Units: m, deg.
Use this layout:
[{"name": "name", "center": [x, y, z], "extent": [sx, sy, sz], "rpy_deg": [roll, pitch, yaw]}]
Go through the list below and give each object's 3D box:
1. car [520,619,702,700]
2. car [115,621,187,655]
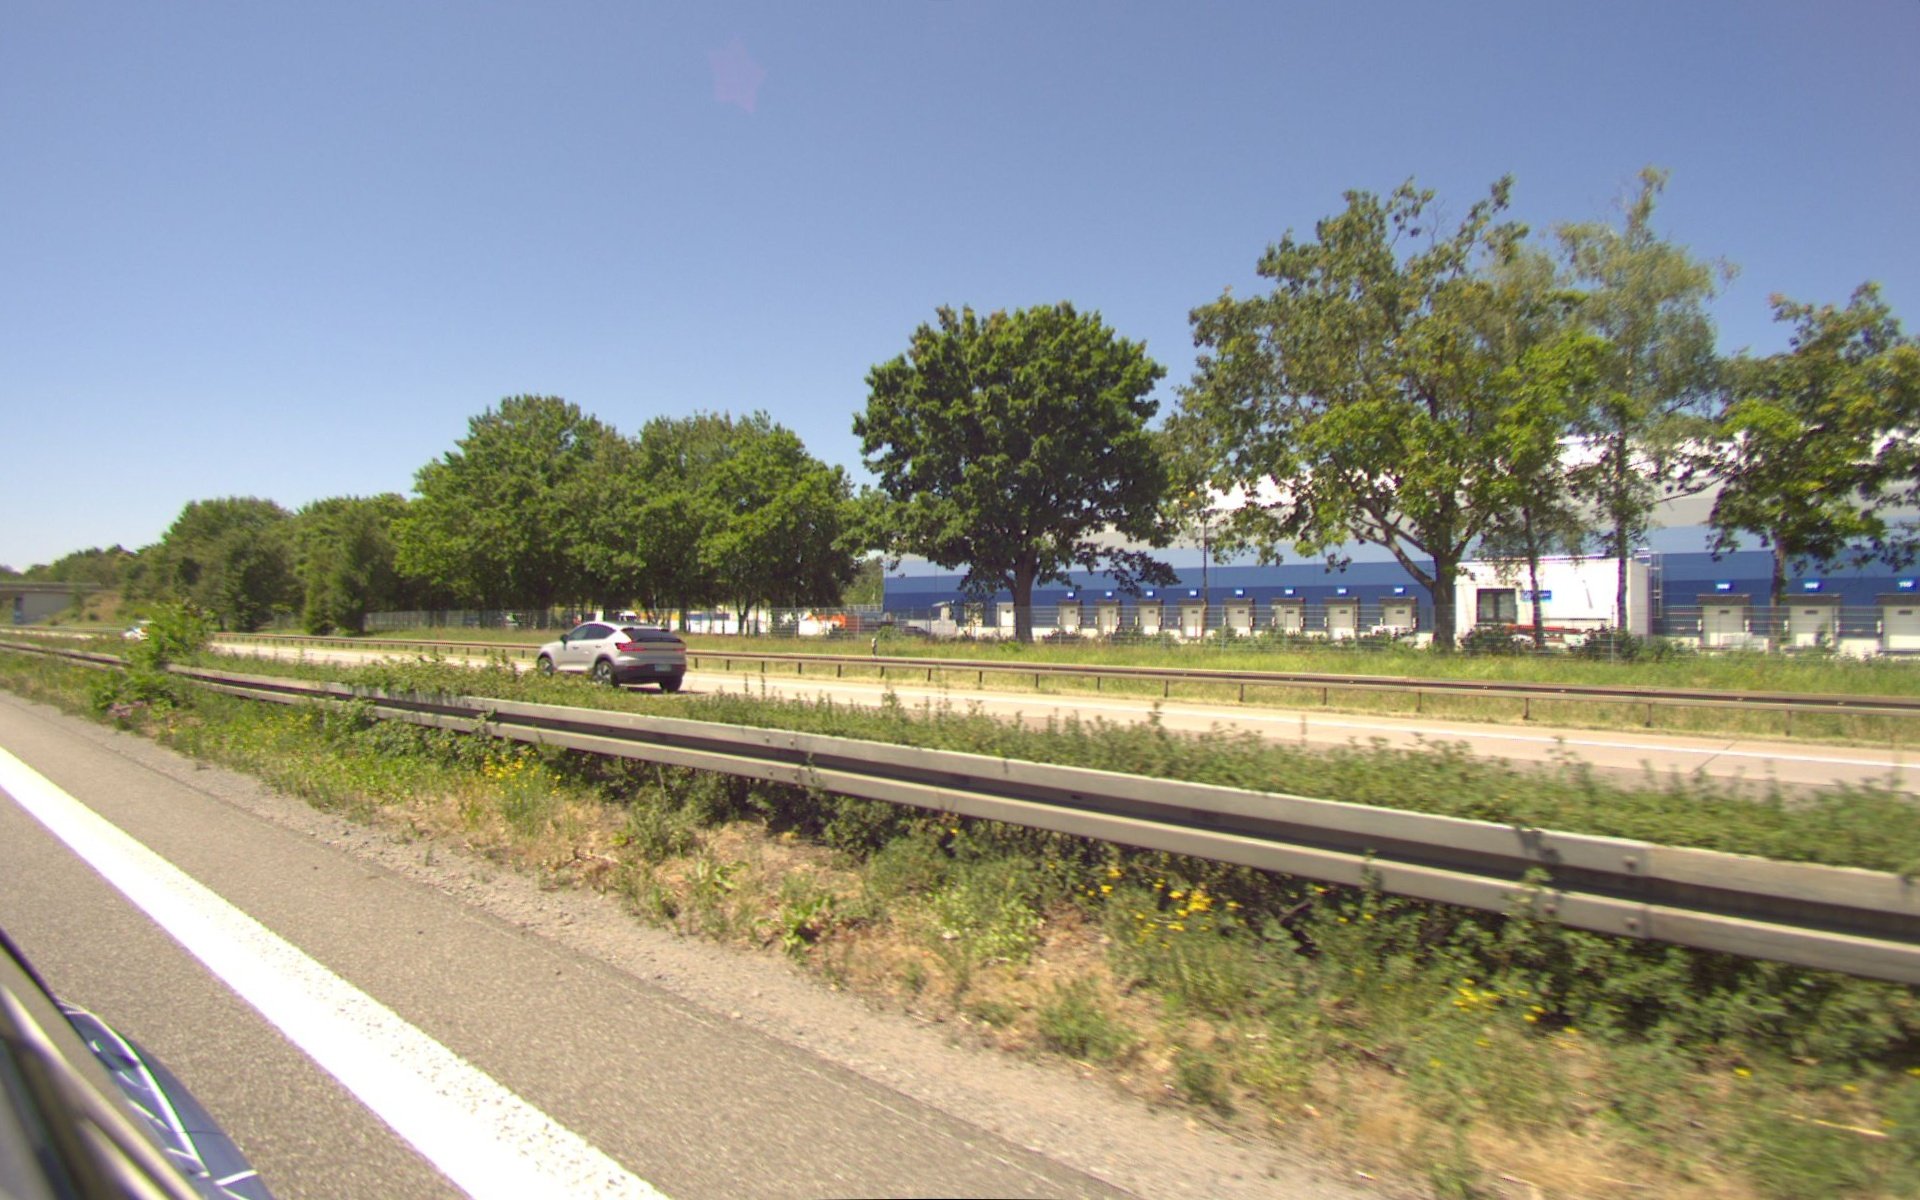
[{"name": "car", "center": [-8.209, 1.326, 23.571], "extent": [4.812, 1.695, 1.826], "rpy_deg": [-1, -4, 41]}, {"name": "car", "center": [-43.423, 2.029, 54.288], "extent": [4.855, 1.652, 1.973], "rpy_deg": [-1, -5, 40]}]
